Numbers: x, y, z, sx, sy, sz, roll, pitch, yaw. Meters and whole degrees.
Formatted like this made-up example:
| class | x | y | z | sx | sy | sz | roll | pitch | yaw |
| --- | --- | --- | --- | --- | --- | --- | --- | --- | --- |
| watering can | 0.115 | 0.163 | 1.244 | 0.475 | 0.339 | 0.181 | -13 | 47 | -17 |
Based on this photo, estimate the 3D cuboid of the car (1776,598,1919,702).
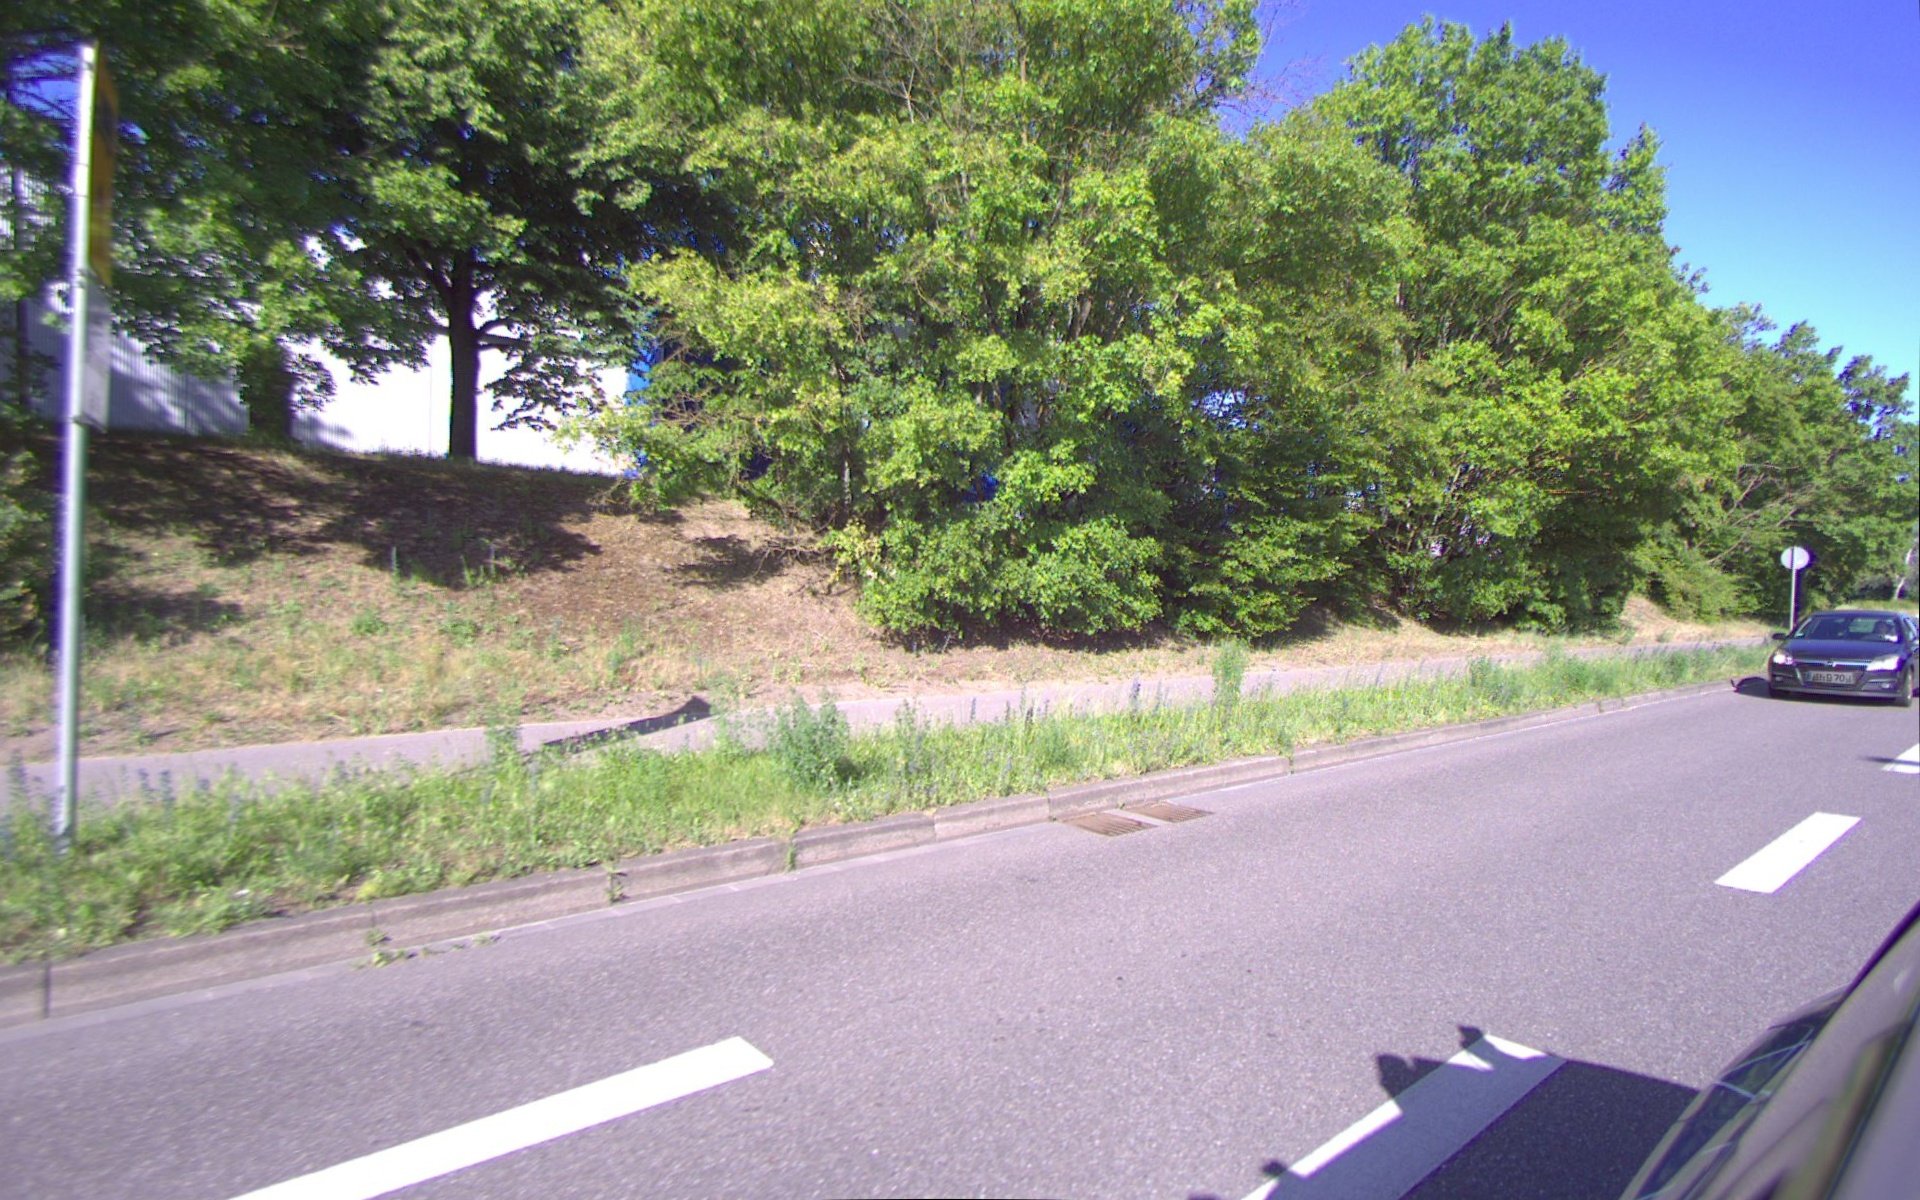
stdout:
| class | x | y | z | sx | sy | sz | roll | pitch | yaw |
| --- | --- | --- | --- | --- | --- | --- | --- | --- | --- |
| car | 14.887 | 0.728 | 16.585 | 3.890 | 1.473 | 1.706 | 0 | 1 | -41 |
